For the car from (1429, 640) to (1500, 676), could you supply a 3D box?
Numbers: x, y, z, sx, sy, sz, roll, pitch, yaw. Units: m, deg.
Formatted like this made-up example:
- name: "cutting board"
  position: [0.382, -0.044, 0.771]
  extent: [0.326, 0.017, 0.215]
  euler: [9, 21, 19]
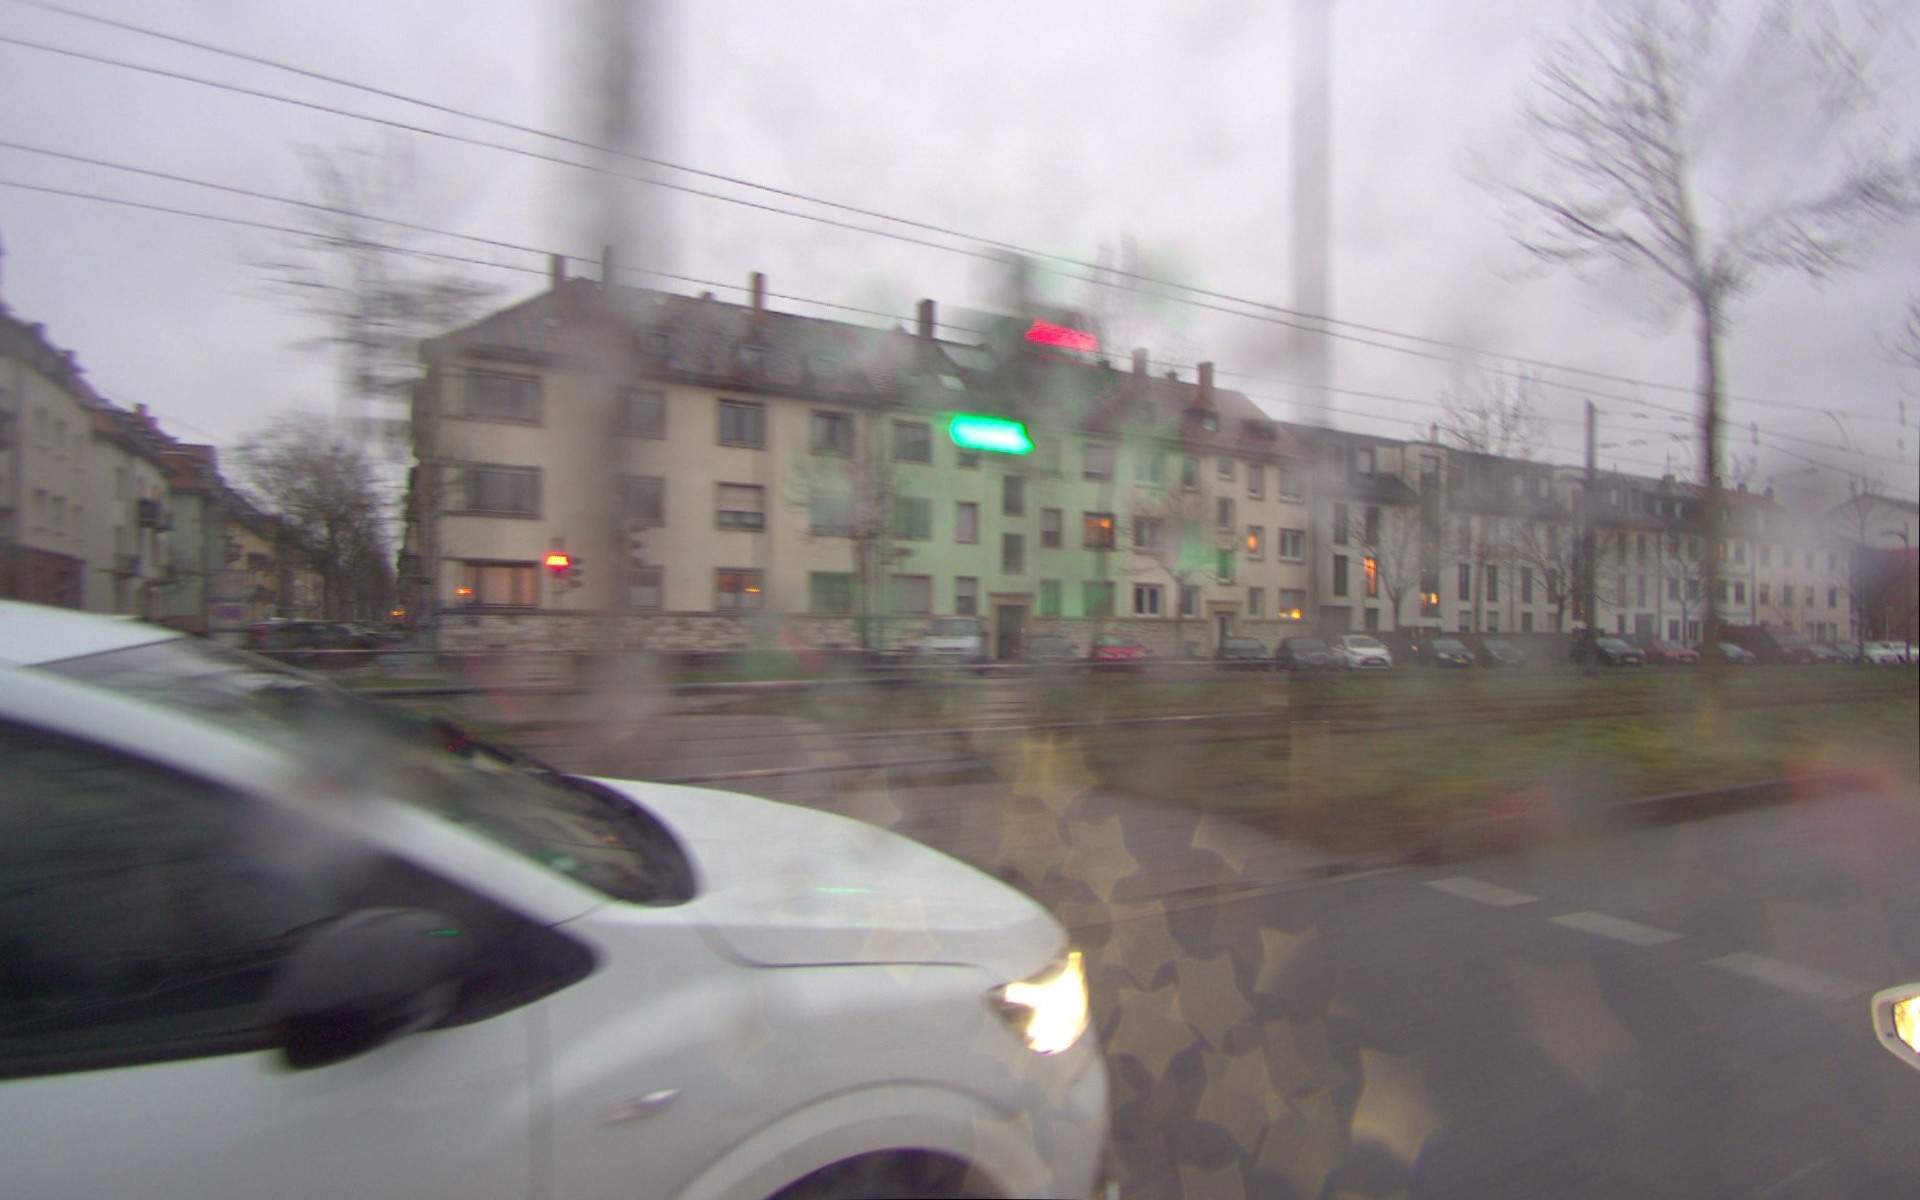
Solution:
- name: "car"
  position: [22.225, 2.521, 44.349]
  extent: [1.703, 1.354, 2.937]
  euler: [2, 0, 3]

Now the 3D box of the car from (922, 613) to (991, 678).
- name: "car"
  position: [-0.031, 1.364, 31.709]
  extent: [1.796, 1.746, 4.660]
  euler: [2, 0, 4]

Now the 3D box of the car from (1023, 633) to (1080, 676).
- name: "car"
  position: [2.999, 1.775, 33.376]
  extent: [1.702, 1.156, 3.573]
  euler: [2, 0, 3]

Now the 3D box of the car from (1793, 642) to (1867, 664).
- name: "car"
  position: [56.967, 3.434, 65.859]
  extent: [1.845, 1.216, 3.541]
  euler: [2, 0, 2]

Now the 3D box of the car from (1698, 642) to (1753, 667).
- name: "car"
  position: [44.001, 3.111, 57.817]
  extent: [1.360, 1.220, 2.890]
  euler: [2, 0, 11]

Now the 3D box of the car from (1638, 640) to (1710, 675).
- name: "car"
  position: [38.364, 3.065, 54.093]
  extent: [1.707, 1.610, 3.851]
  euler: [2, 0, 11]

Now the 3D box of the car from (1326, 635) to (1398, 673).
- name: "car"
  position: [16.215, 2.158, 40.683]
  extent: [1.702, 1.262, 3.845]
  euler: [2, 0, 6]

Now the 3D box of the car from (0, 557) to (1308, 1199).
- name: "car"
  position: [-1.463, 0.689, 1.654]
  extent: [3.955, 1.494, 1.680]
  euler: [2, 0, -31]

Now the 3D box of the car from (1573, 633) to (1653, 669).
- name: "car"
  position: [32.959, 2.551, 50.830]
  extent: [1.636, 1.561, 4.165]
  euler: [2, 0, 6]

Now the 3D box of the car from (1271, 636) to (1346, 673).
- name: "car"
  position: [13.517, 2.095, 39.157]
  extent: [1.703, 1.188, 3.822]
  euler: [2, 0, 3]

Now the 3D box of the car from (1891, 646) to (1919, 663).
- name: "car"
  position: [71.202, 4.063, 73.826]
  extent: [1.648, 1.131, 4.190]
  euler: [2, 0, 1]

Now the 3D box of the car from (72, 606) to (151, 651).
- name: "car"
  position: [-35.801, 1.171, 42.470]
  extent: [1.781, 1.731, 3.680]
  euler: [2, 0, -28]

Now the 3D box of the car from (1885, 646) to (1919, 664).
- name: "car"
  position: [68.708, 4.000, 72.352]
  extent: [1.369, 1.162, 3.045]
  euler: [2, 0, 1]

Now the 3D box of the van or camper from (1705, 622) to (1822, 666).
- name: "van or camper"
  position: [49.239, 2.619, 61.815]
  extent: [1.960, 2.391, 6.884]
  euler: [2, 0, 4]

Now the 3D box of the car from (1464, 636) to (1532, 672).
- name: "car"
  position: [24.609, 2.441, 46.055]
  extent: [1.636, 1.441, 3.387]
  euler: [2, 0, 9]

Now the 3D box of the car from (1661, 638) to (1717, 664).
- name: "car"
  position: [41.597, 2.905, 57.359]
  extent: [1.360, 1.320, 3.099]
  euler: [2, 0, 11]

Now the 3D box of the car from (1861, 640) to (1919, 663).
- name: "car"
  position: [66.083, 3.657, 70.825]
  extent: [1.737, 1.397, 4.126]
  euler: [2, 0, 7]

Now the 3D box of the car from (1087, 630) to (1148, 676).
- name: "car"
  position: [5.396, 1.789, 34.723]
  extent: [1.653, 1.326, 3.581]
  euler: [2, 0, 3]

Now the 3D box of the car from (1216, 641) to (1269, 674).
- name: "car"
  position: [10.610, 2.142, 37.846]
  extent: [1.408, 1.062, 2.393]
  euler: [1, 0, 3]

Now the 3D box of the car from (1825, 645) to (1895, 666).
- name: "car"
  position: [60.113, 3.675, 67.141]
  extent: [1.658, 1.162, 3.419]
  euler: [2, 0, 2]

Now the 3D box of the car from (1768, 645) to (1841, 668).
- name: "car"
  position: [54.130, 3.587, 64.473]
  extent: [1.713, 1.228, 3.541]
  euler: [2, 0, 2]
